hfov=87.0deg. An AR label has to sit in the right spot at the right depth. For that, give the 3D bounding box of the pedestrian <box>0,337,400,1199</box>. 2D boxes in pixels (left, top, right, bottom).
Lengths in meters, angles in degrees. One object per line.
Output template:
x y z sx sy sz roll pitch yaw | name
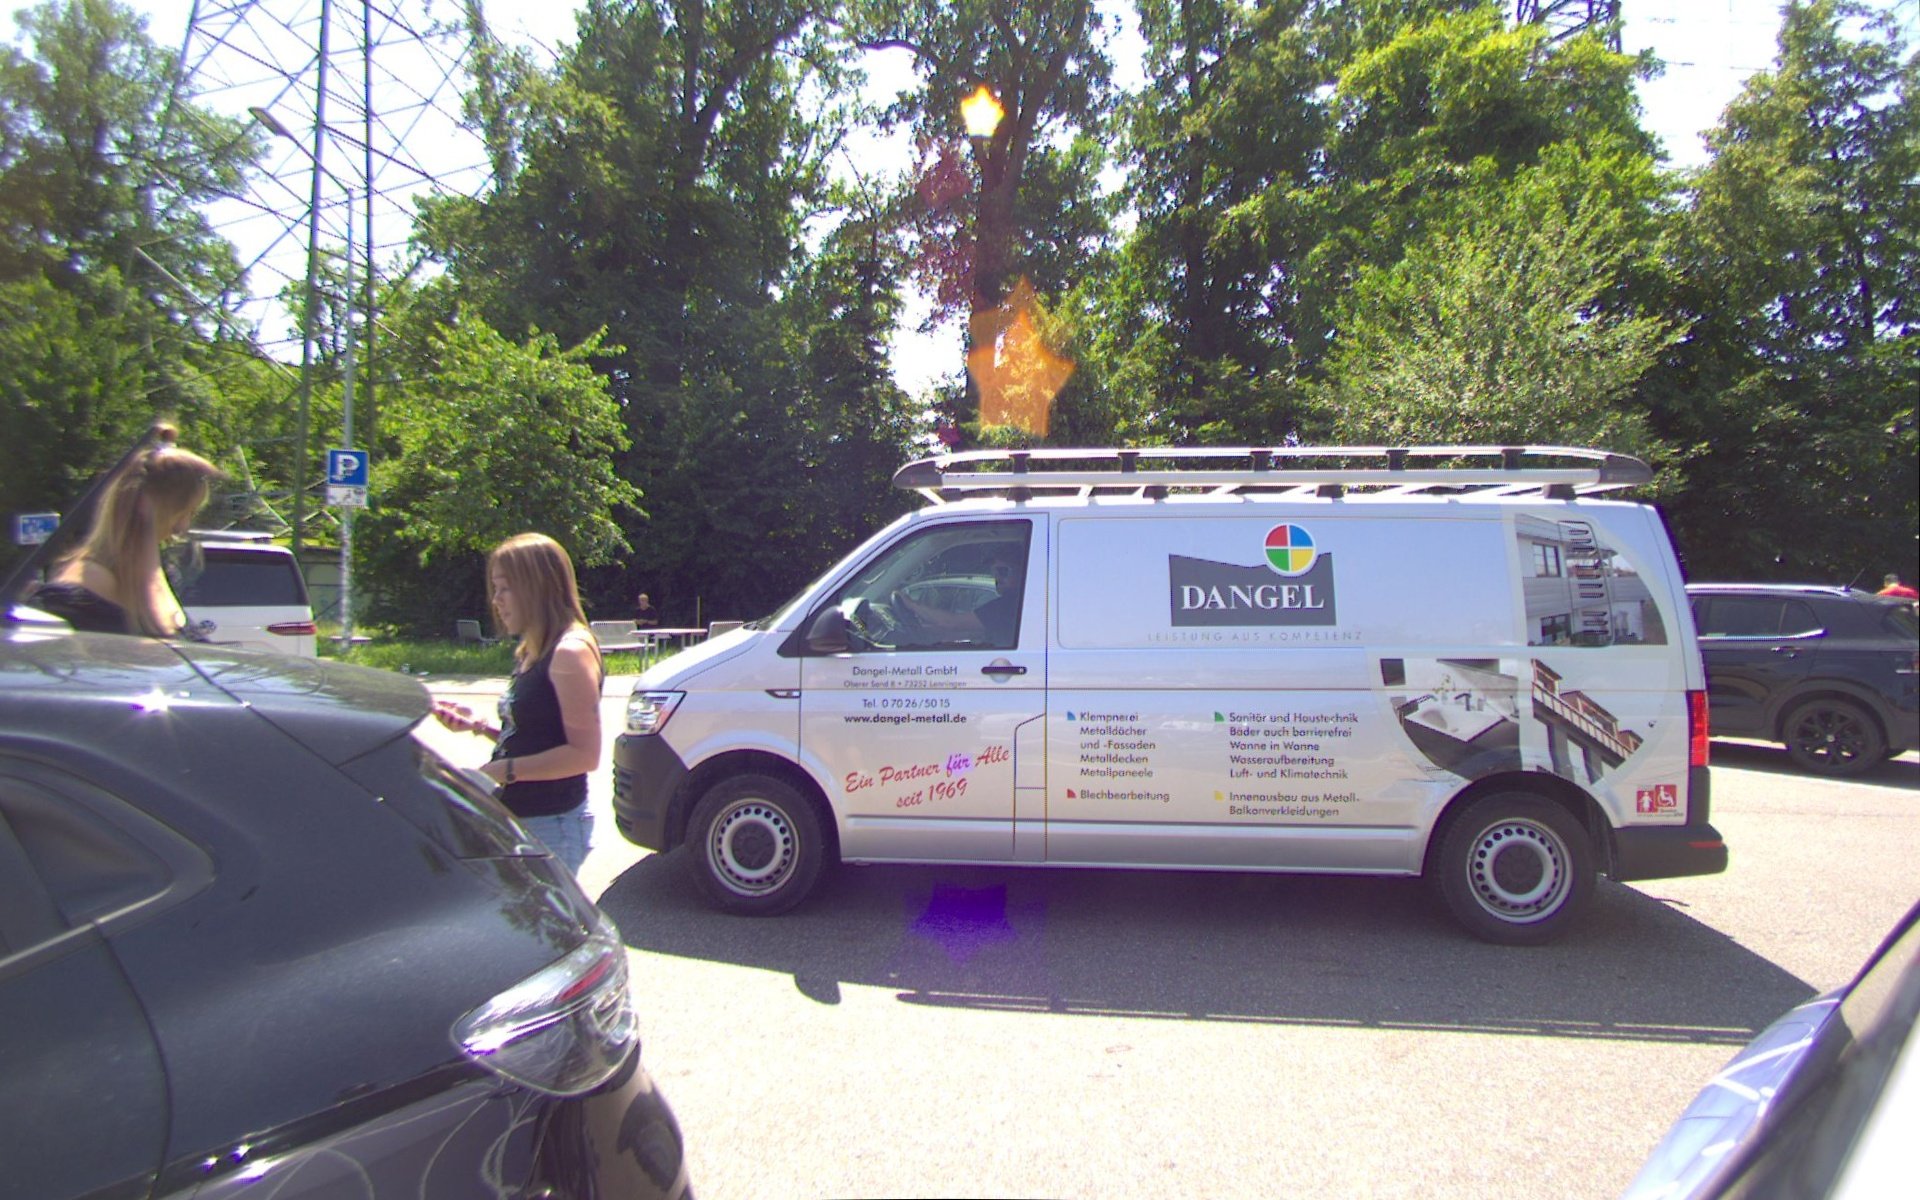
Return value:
-1.980 0.432 2.432 0.759 1.896 0.917 1 -1 -3 | pedestrian

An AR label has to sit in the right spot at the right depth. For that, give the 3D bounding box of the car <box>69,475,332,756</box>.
-8.042 0.093 10.645 1.885 2.353 4.089 0 1 -40 | car

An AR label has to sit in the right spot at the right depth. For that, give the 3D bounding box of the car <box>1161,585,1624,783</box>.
3.871 0.608 9.659 1.604 1.476 3.810 0 1 -34 | car

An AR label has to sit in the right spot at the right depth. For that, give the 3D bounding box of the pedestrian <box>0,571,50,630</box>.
-22.647 0.012 24.496 0.599 1.391 0.705 1 -1 15 | pedestrian

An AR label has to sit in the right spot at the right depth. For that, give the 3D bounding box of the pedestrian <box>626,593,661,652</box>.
-6.659 0.469 21.322 0.550 1.229 0.599 1 -1 -1 | pedestrian

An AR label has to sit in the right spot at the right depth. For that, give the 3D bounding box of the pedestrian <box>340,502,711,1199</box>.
-1.148 0.580 2.729 0.649 1.606 0.642 0 -1 29 | pedestrian

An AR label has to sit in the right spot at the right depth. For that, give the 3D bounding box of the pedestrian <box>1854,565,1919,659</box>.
13.837 0.175 14.751 0.846 1.316 0.894 1 -1 -18 | pedestrian

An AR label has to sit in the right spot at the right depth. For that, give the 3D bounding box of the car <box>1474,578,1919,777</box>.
7.263 0.579 9.690 1.727 1.566 3.806 0 1 -39 | car

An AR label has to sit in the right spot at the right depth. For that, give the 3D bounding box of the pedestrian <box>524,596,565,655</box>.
-9.687 0.587 23.596 0.722 1.343 0.669 1 -1 -39 | pedestrian

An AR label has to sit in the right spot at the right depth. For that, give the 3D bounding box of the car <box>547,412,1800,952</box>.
0.853 0.299 5.278 5.217 2.177 1.998 1 -1 4 | car

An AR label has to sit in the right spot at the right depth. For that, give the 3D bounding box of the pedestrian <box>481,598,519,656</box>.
-10.407 0.603 22.899 0.630 1.287 0.579 1 -1 -39 | pedestrian

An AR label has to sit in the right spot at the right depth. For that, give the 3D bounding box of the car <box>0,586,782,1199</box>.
-2.106 0.720 0.605 1.615 1.503 3.706 0 -1 44 | car

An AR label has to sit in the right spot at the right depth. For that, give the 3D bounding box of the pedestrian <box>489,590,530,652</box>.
-10.919 0.495 24.534 0.722 1.478 0.669 1 -1 -39 | pedestrian
